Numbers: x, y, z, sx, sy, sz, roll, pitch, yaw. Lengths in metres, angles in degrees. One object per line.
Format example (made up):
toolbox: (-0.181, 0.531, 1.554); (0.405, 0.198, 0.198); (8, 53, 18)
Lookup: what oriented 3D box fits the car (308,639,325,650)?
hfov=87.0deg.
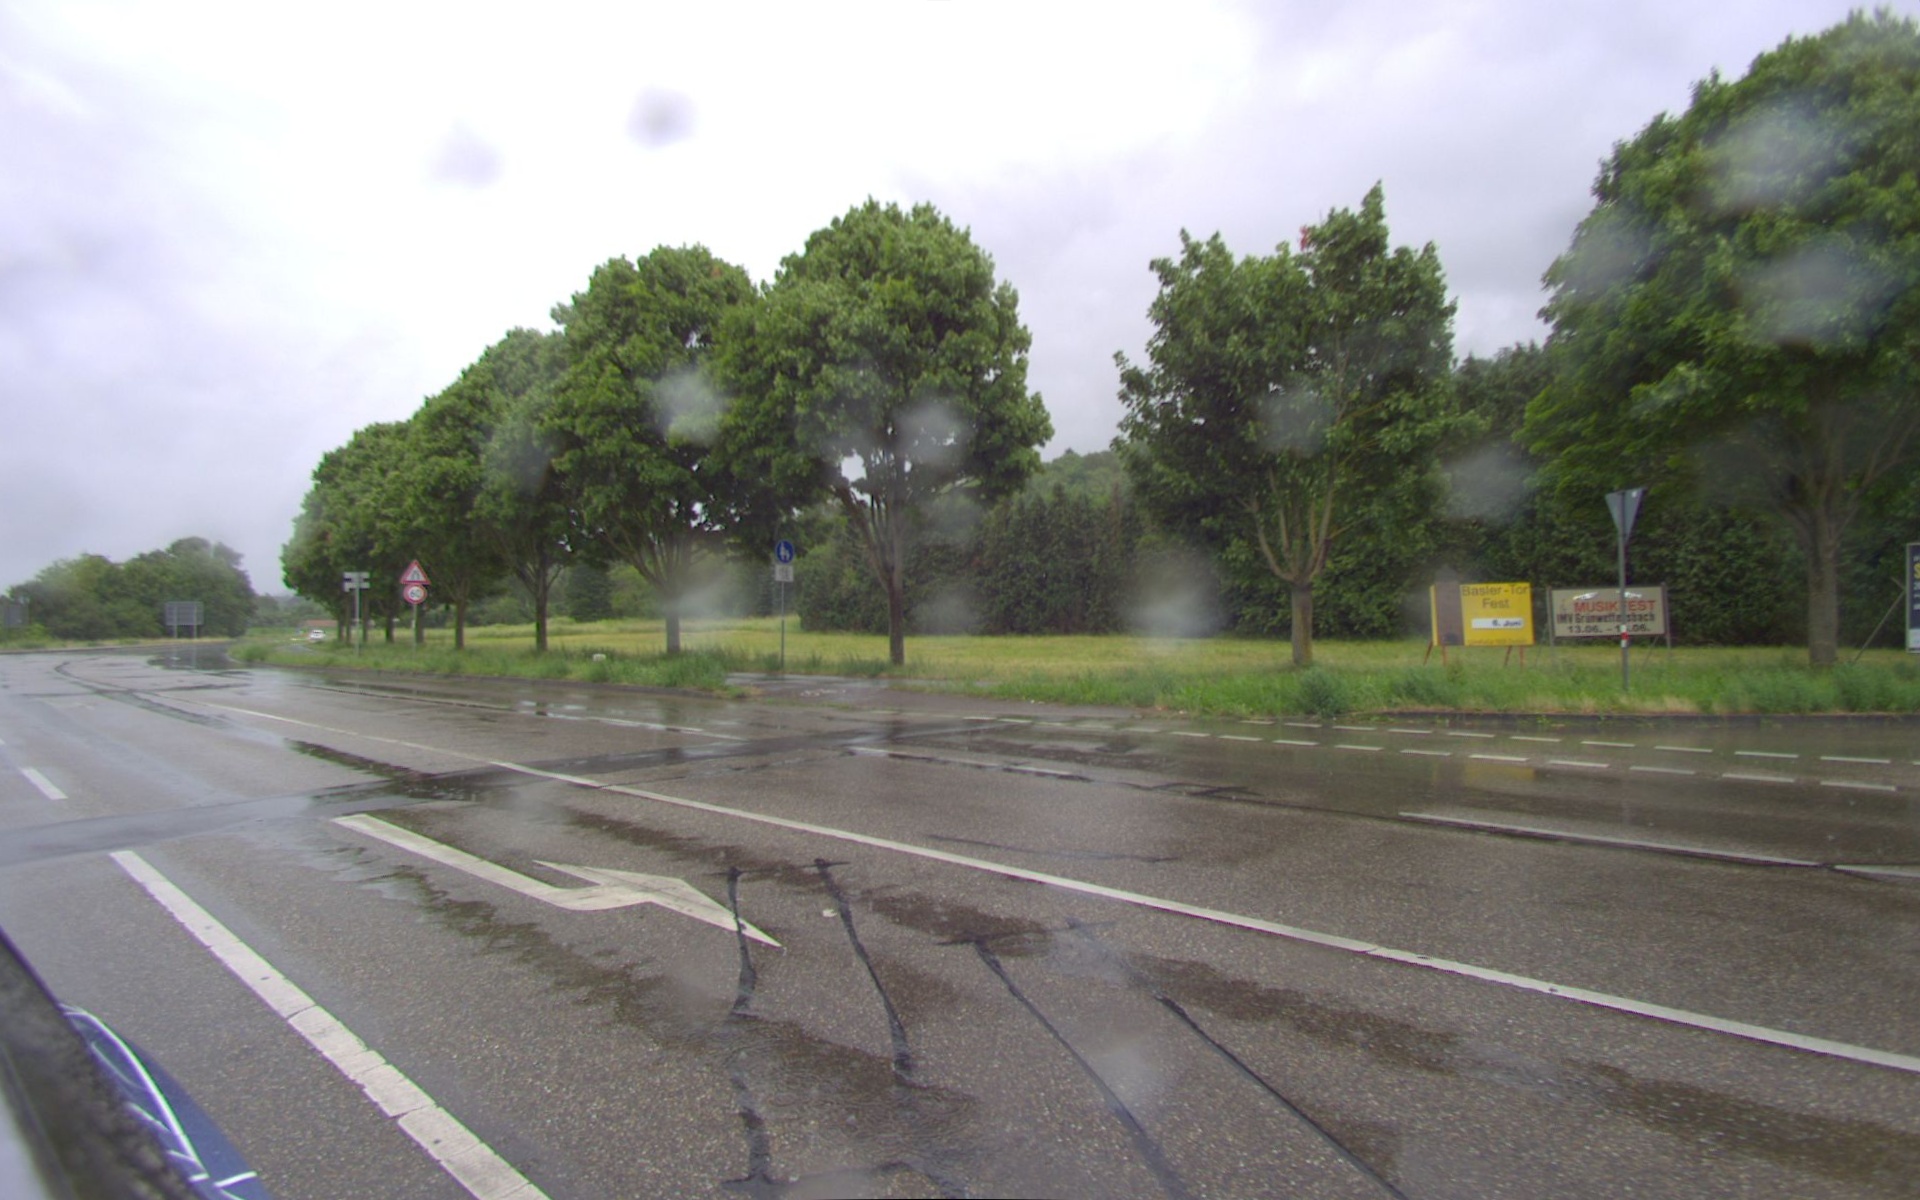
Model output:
car: (-97.118, 6.697, 152.741); (1.852, 1.585, 4.659); (2, -2, -29)

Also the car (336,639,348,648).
car: (-117.100, 8.195, 191.611); (1.858, 1.599, 4.130); (-2, 0, -32)

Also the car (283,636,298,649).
car: (-102.472, 6.529, 154.825); (1.716, 2.006, 4.020); (2, -3, -36)
